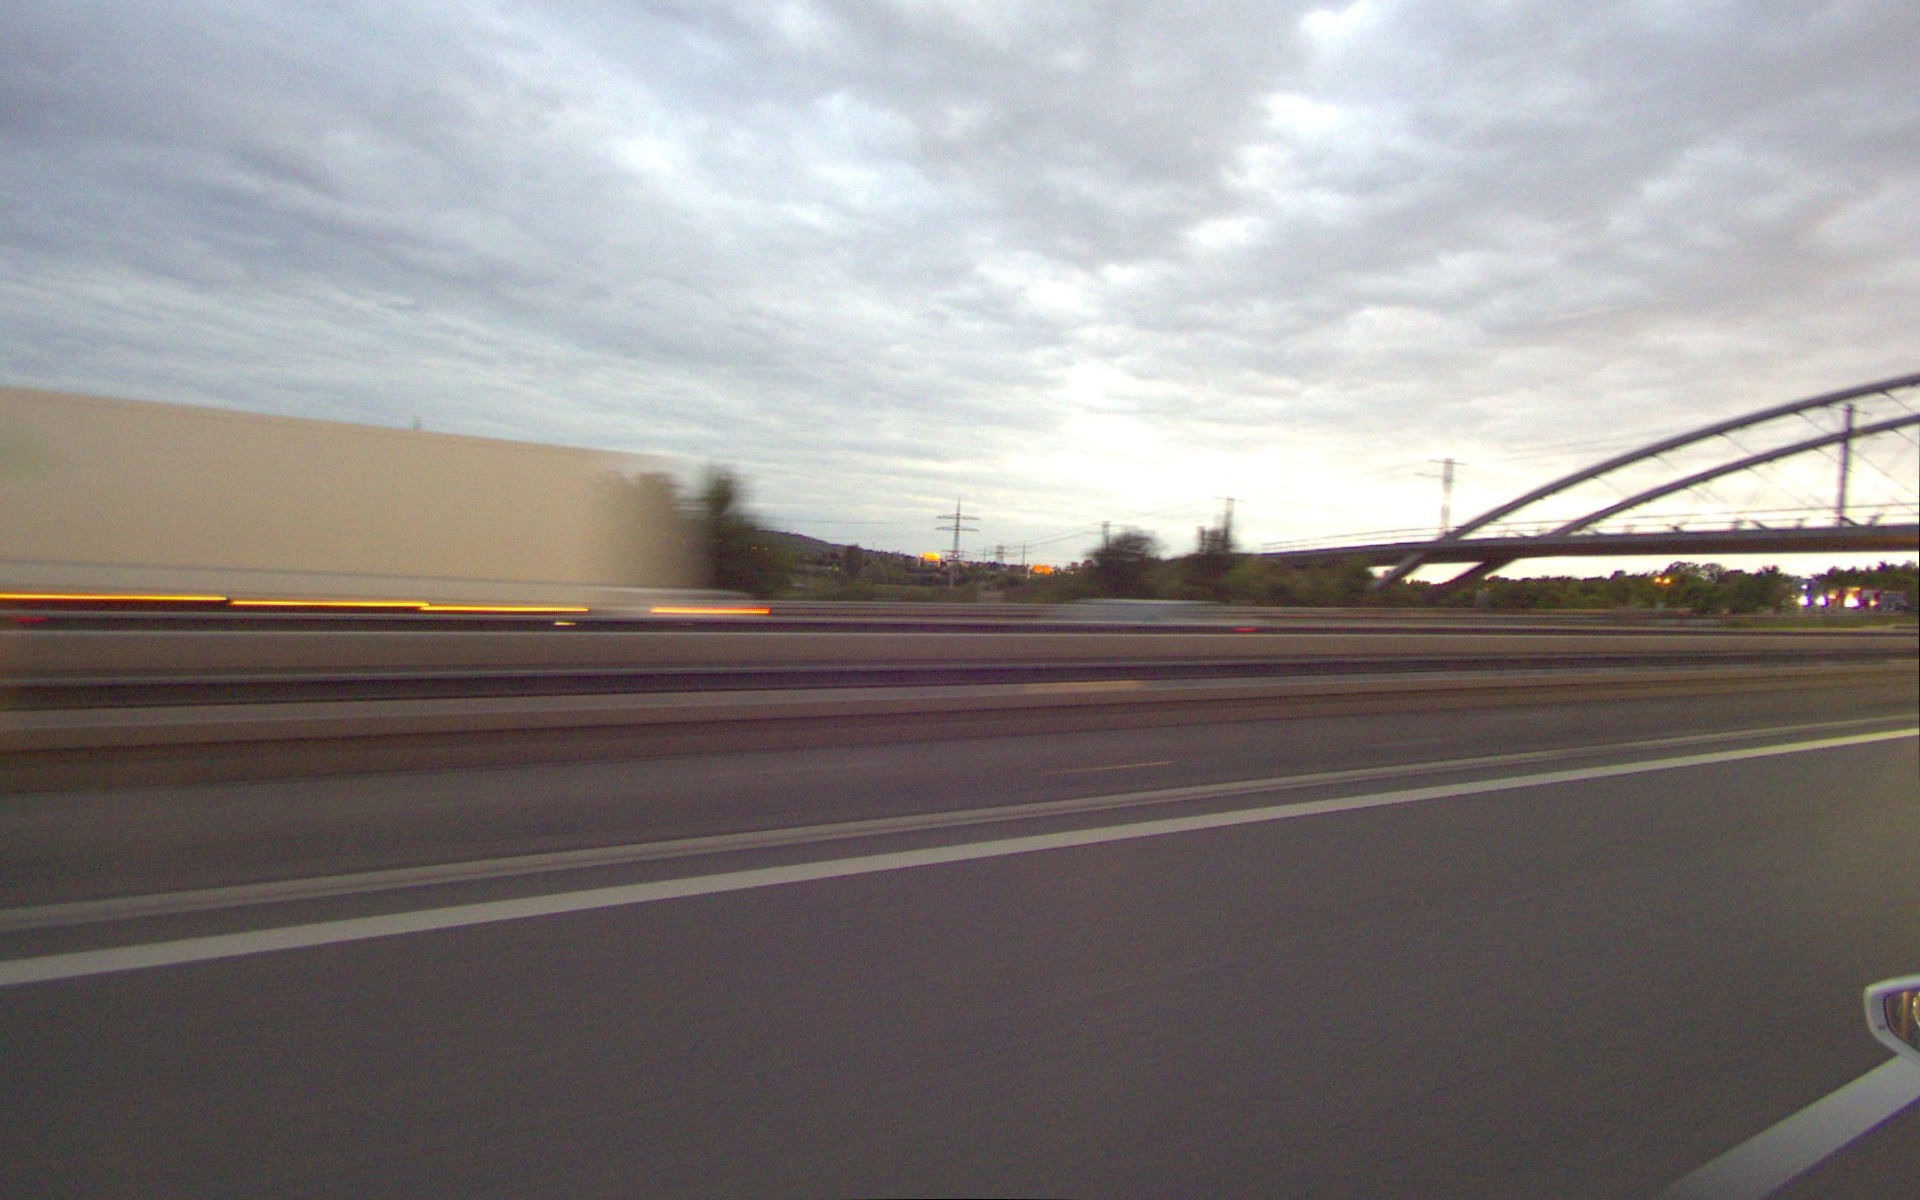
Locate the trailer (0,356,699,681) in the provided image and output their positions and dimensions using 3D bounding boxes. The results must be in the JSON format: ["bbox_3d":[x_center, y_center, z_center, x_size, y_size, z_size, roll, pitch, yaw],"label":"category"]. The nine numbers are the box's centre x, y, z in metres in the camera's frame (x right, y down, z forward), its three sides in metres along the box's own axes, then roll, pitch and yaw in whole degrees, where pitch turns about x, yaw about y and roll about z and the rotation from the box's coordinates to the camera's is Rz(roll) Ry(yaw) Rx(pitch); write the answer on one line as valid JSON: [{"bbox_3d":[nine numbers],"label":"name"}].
[{"bbox_3d":[-11.925,-1.092,16.729,14.461,4.567,2.810,1,0,-31],"label":"trailer"}]

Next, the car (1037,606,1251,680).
[{"bbox_3d":[3.980,0.893,21.633,4.279,1.422,1.984,1,0,-30],"label":"car"}]
